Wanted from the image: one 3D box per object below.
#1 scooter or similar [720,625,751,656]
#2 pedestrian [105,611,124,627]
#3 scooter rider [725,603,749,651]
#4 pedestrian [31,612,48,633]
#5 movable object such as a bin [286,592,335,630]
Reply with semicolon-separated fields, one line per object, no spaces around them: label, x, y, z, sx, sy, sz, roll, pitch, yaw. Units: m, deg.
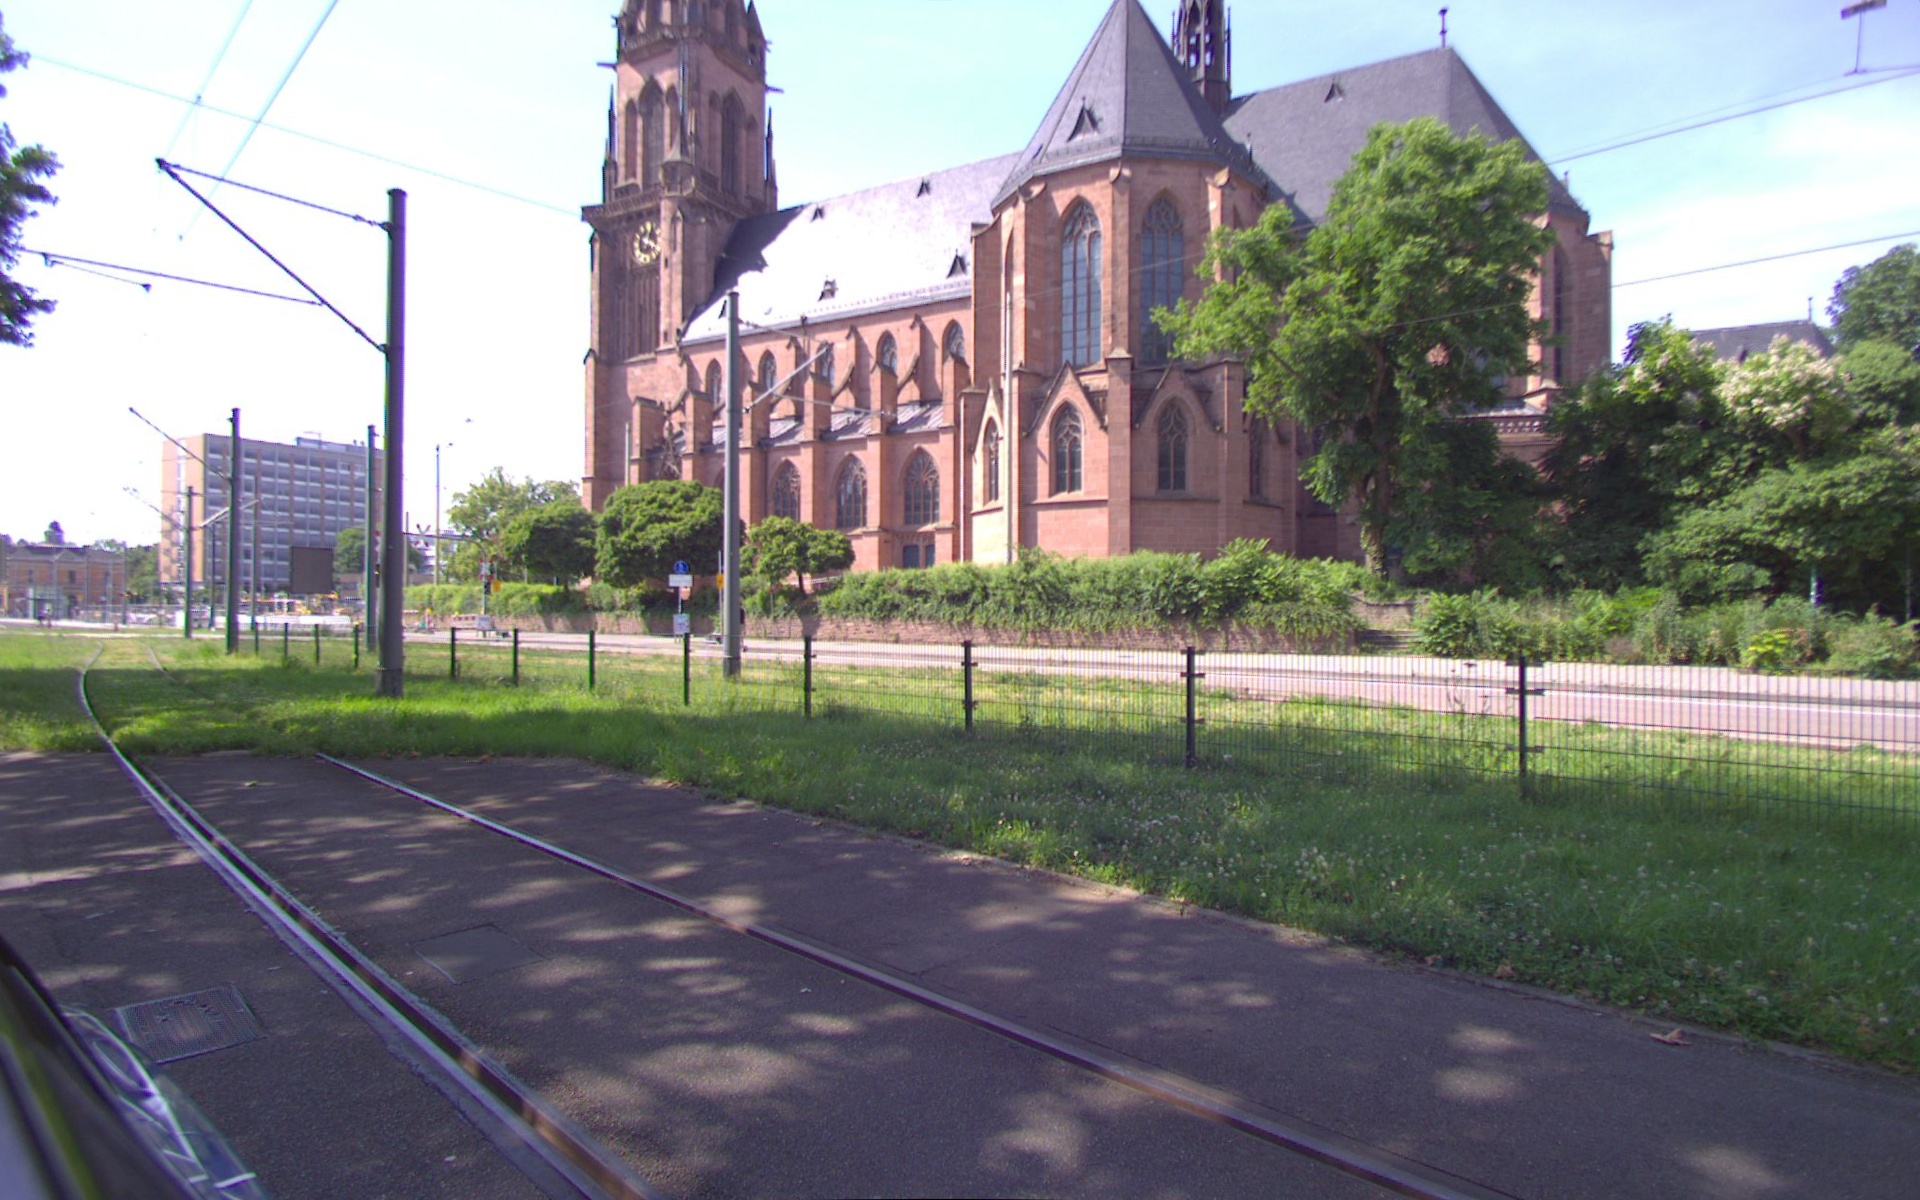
scooter or similar;-8.778;1.573;39.631;0.651;1.213;1.264;0;-1;15
pedestrian;-95.415;2.162;114.189;1.420;1.820;1.409;-1;-1;37
scooter rider;-8.757;1.060;39.733;0.658;1.881;0.665;0;-1;16
pedestrian;-72.300;1.781;79.485;0.758;1.666;0.849;-1;-1;41
movable object such as a bin;-69.299;1.177;108.031;2.905;3.911;3.327;0;-1;8
